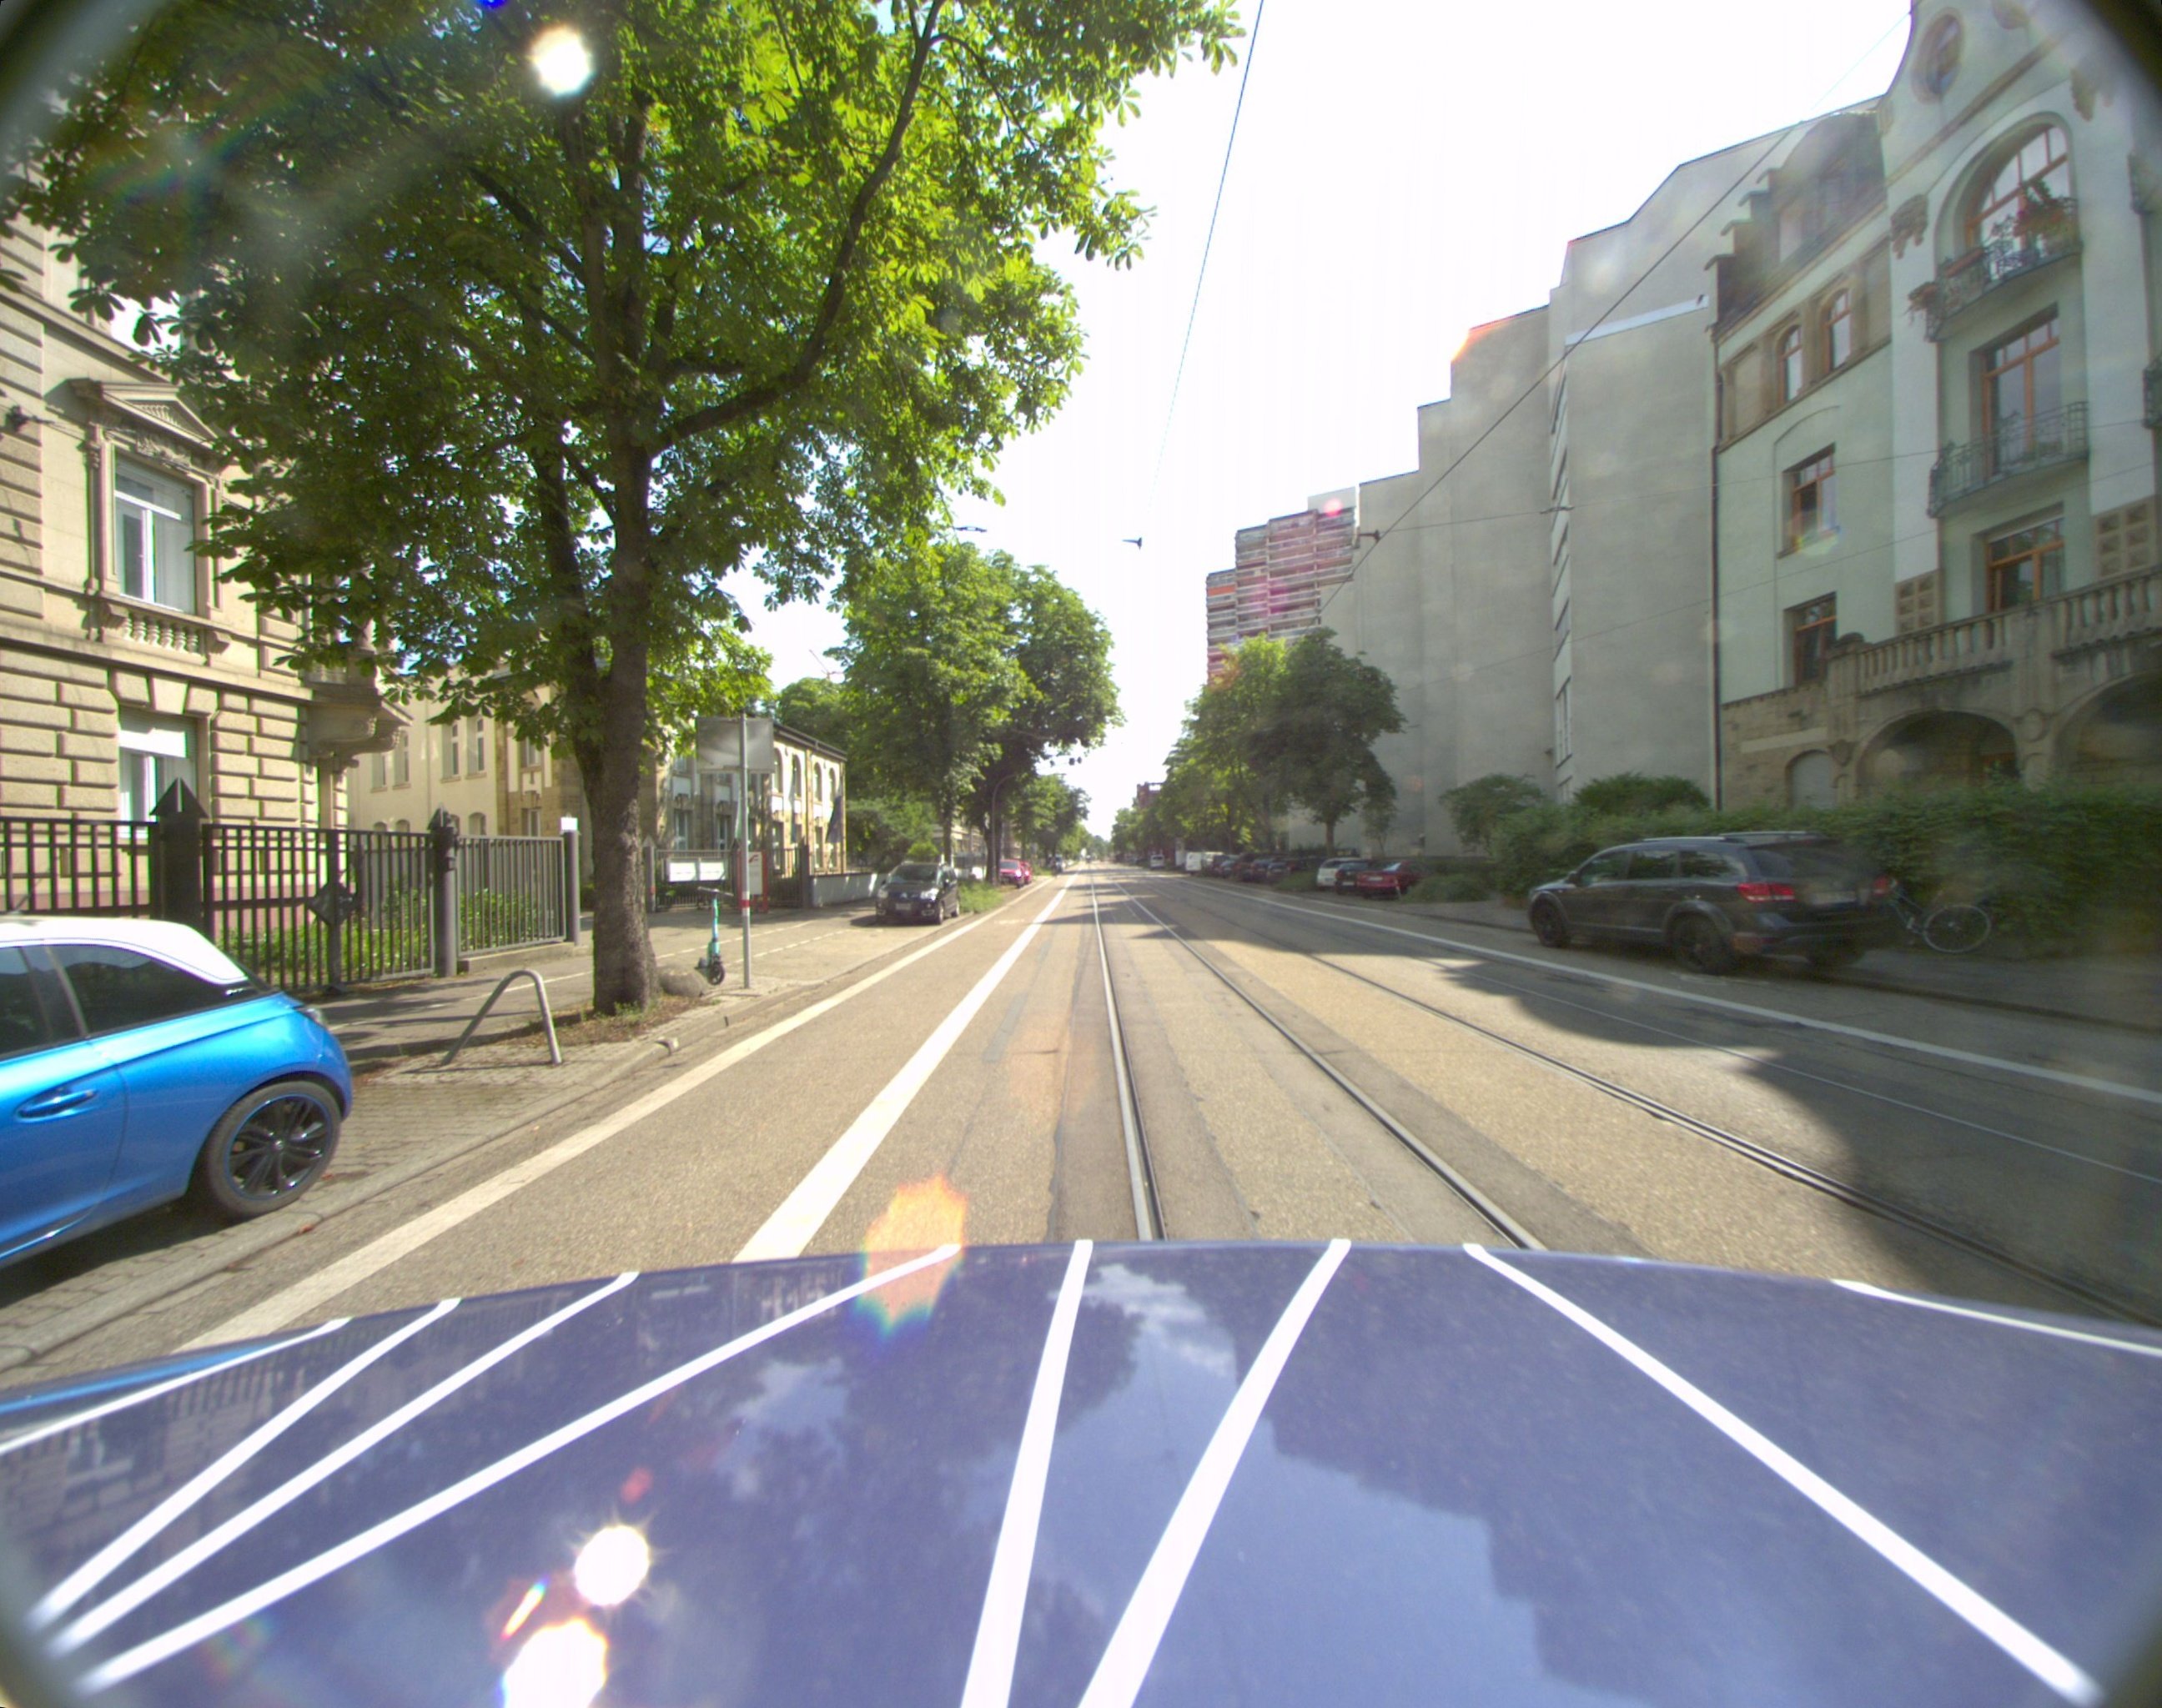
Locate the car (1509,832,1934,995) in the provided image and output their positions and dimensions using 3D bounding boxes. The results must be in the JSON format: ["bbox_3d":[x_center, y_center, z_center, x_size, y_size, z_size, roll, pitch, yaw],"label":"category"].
[{"bbox_3d":[8.377,0.660,10.734,1.790,1.752,4.882,-1,0,-2],"label":"car"}]

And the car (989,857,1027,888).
[{"bbox_3d":[-4.150,1.001,43.913,1.881,1.666,4.281,1,0,-2],"label":"car"}]

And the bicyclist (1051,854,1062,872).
[{"bbox_3d":[-2.127,0.783,65.529,0.740,1.567,0.644,0,1,23],"label":"bicyclist"}]

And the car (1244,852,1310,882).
[{"bbox_3d":[11.231,0.743,43.440,4.009,1.583,1.736,1,0,-44],"label":"car"}]

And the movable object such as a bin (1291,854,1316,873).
[{"bbox_3d":[17.073,0.720,58.317,1.391,1.356,1.538,2,1,-3],"label":"movable object such as a bin"}]

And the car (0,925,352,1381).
[{"bbox_3d":[-4.645,1.122,2.185,1.644,1.487,3.626,0,0,-1],"label":"car"}]

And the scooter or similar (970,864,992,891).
[{"bbox_3d":[-4.692,1.089,35.717,0.341,1.230,1.262,2,1,25],"label":"scooter or similar"}]

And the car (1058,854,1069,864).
[{"bbox_3d":[-3.129,0.904,133.792,1.750,1.597,4.236,-4,0,0],"label":"car"}]

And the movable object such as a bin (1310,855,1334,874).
[{"bbox_3d":[16.942,0.721,53.354,1.171,1.276,1.441,2,1,0],"label":"movable object such as a bin"}]

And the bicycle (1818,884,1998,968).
[{"bbox_3d":[11.165,0.925,10.362,0.384,0.953,1.921,-3,0,2],"label":"bicycle"}]

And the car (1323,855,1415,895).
[{"bbox_3d":[11.540,0.827,30.379,3.815,1.475,1.693,1,0,-39],"label":"car"}]

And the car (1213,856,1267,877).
[{"bbox_3d":[11.053,0.856,52.740,1.755,1.409,4.009,1,0,45],"label":"car"}]

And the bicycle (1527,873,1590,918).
[{"bbox_3d":[11.282,0.964,18.009,0.384,0.953,1.810,-3,0,2],"label":"bicycle"}]

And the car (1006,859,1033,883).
[{"bbox_3d":[-4.140,1.138,51.638,1.605,1.420,3.595,2,0,-3],"label":"car"}]

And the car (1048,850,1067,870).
[{"bbox_3d":[-3.268,0.811,107.548,2.337,2.545,5.389,-4,0,0],"label":"car"}]

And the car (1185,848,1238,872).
[{"bbox_3d":[11.389,0.488,65.980,4.695,1.985,1.963,-1,0,-41],"label":"car"}]

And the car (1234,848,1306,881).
[{"bbox_3d":[11.720,0.639,46.913,1.911,1.943,5.180,2,0,45],"label":"car"}]

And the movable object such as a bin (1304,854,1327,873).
[{"bbox_3d":[16.938,0.678,54.825,1.167,1.319,1.441,2,1,-1],"label":"movable object such as a bin"}]

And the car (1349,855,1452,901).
[{"bbox_3d":[11.480,0.836,27.196,3.979,1.475,1.841,1,0,-42],"label":"car"}]

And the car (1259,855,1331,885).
[{"bbox_3d":[11.356,0.828,40.216,4.009,1.475,1.736,1,0,-42],"label":"car"}]

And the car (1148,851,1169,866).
[{"bbox_3d":[10.175,0.606,99.778,1.892,1.840,4.235,-4,0,-4],"label":"car"}]

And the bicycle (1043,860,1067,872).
[{"bbox_3d":[-2.261,1.027,65.590,1.995,1.034,0.658,0,1,23],"label":"bicycle"}]

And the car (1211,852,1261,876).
[{"bbox_3d":[11.520,0.750,56.281,3.723,1.683,1.755,1,0,-43],"label":"car"}]

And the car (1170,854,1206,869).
[{"bbox_3d":[11.285,0.780,79.988,1.737,1.514,3.893,-1,0,44],"label":"car"}]

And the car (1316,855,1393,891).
[{"bbox_3d":[12.110,0.839,33.595,3.816,1.475,1.692,1,0,-45],"label":"car"}]

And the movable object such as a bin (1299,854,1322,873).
[{"bbox_3d":[17.119,0.722,56.726,1.196,1.372,1.441,2,1,-3],"label":"movable object such as a bin"}]

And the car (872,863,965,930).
[{"bbox_3d":[-4.386,1.087,21.142,1.701,1.582,4.202,1,0,-1],"label":"car"}]

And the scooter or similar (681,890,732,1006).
[{"bbox_3d":[-4.621,1.113,9.345,0.443,1.291,1.179,2,-2,-30],"label":"scooter or similar"}]
